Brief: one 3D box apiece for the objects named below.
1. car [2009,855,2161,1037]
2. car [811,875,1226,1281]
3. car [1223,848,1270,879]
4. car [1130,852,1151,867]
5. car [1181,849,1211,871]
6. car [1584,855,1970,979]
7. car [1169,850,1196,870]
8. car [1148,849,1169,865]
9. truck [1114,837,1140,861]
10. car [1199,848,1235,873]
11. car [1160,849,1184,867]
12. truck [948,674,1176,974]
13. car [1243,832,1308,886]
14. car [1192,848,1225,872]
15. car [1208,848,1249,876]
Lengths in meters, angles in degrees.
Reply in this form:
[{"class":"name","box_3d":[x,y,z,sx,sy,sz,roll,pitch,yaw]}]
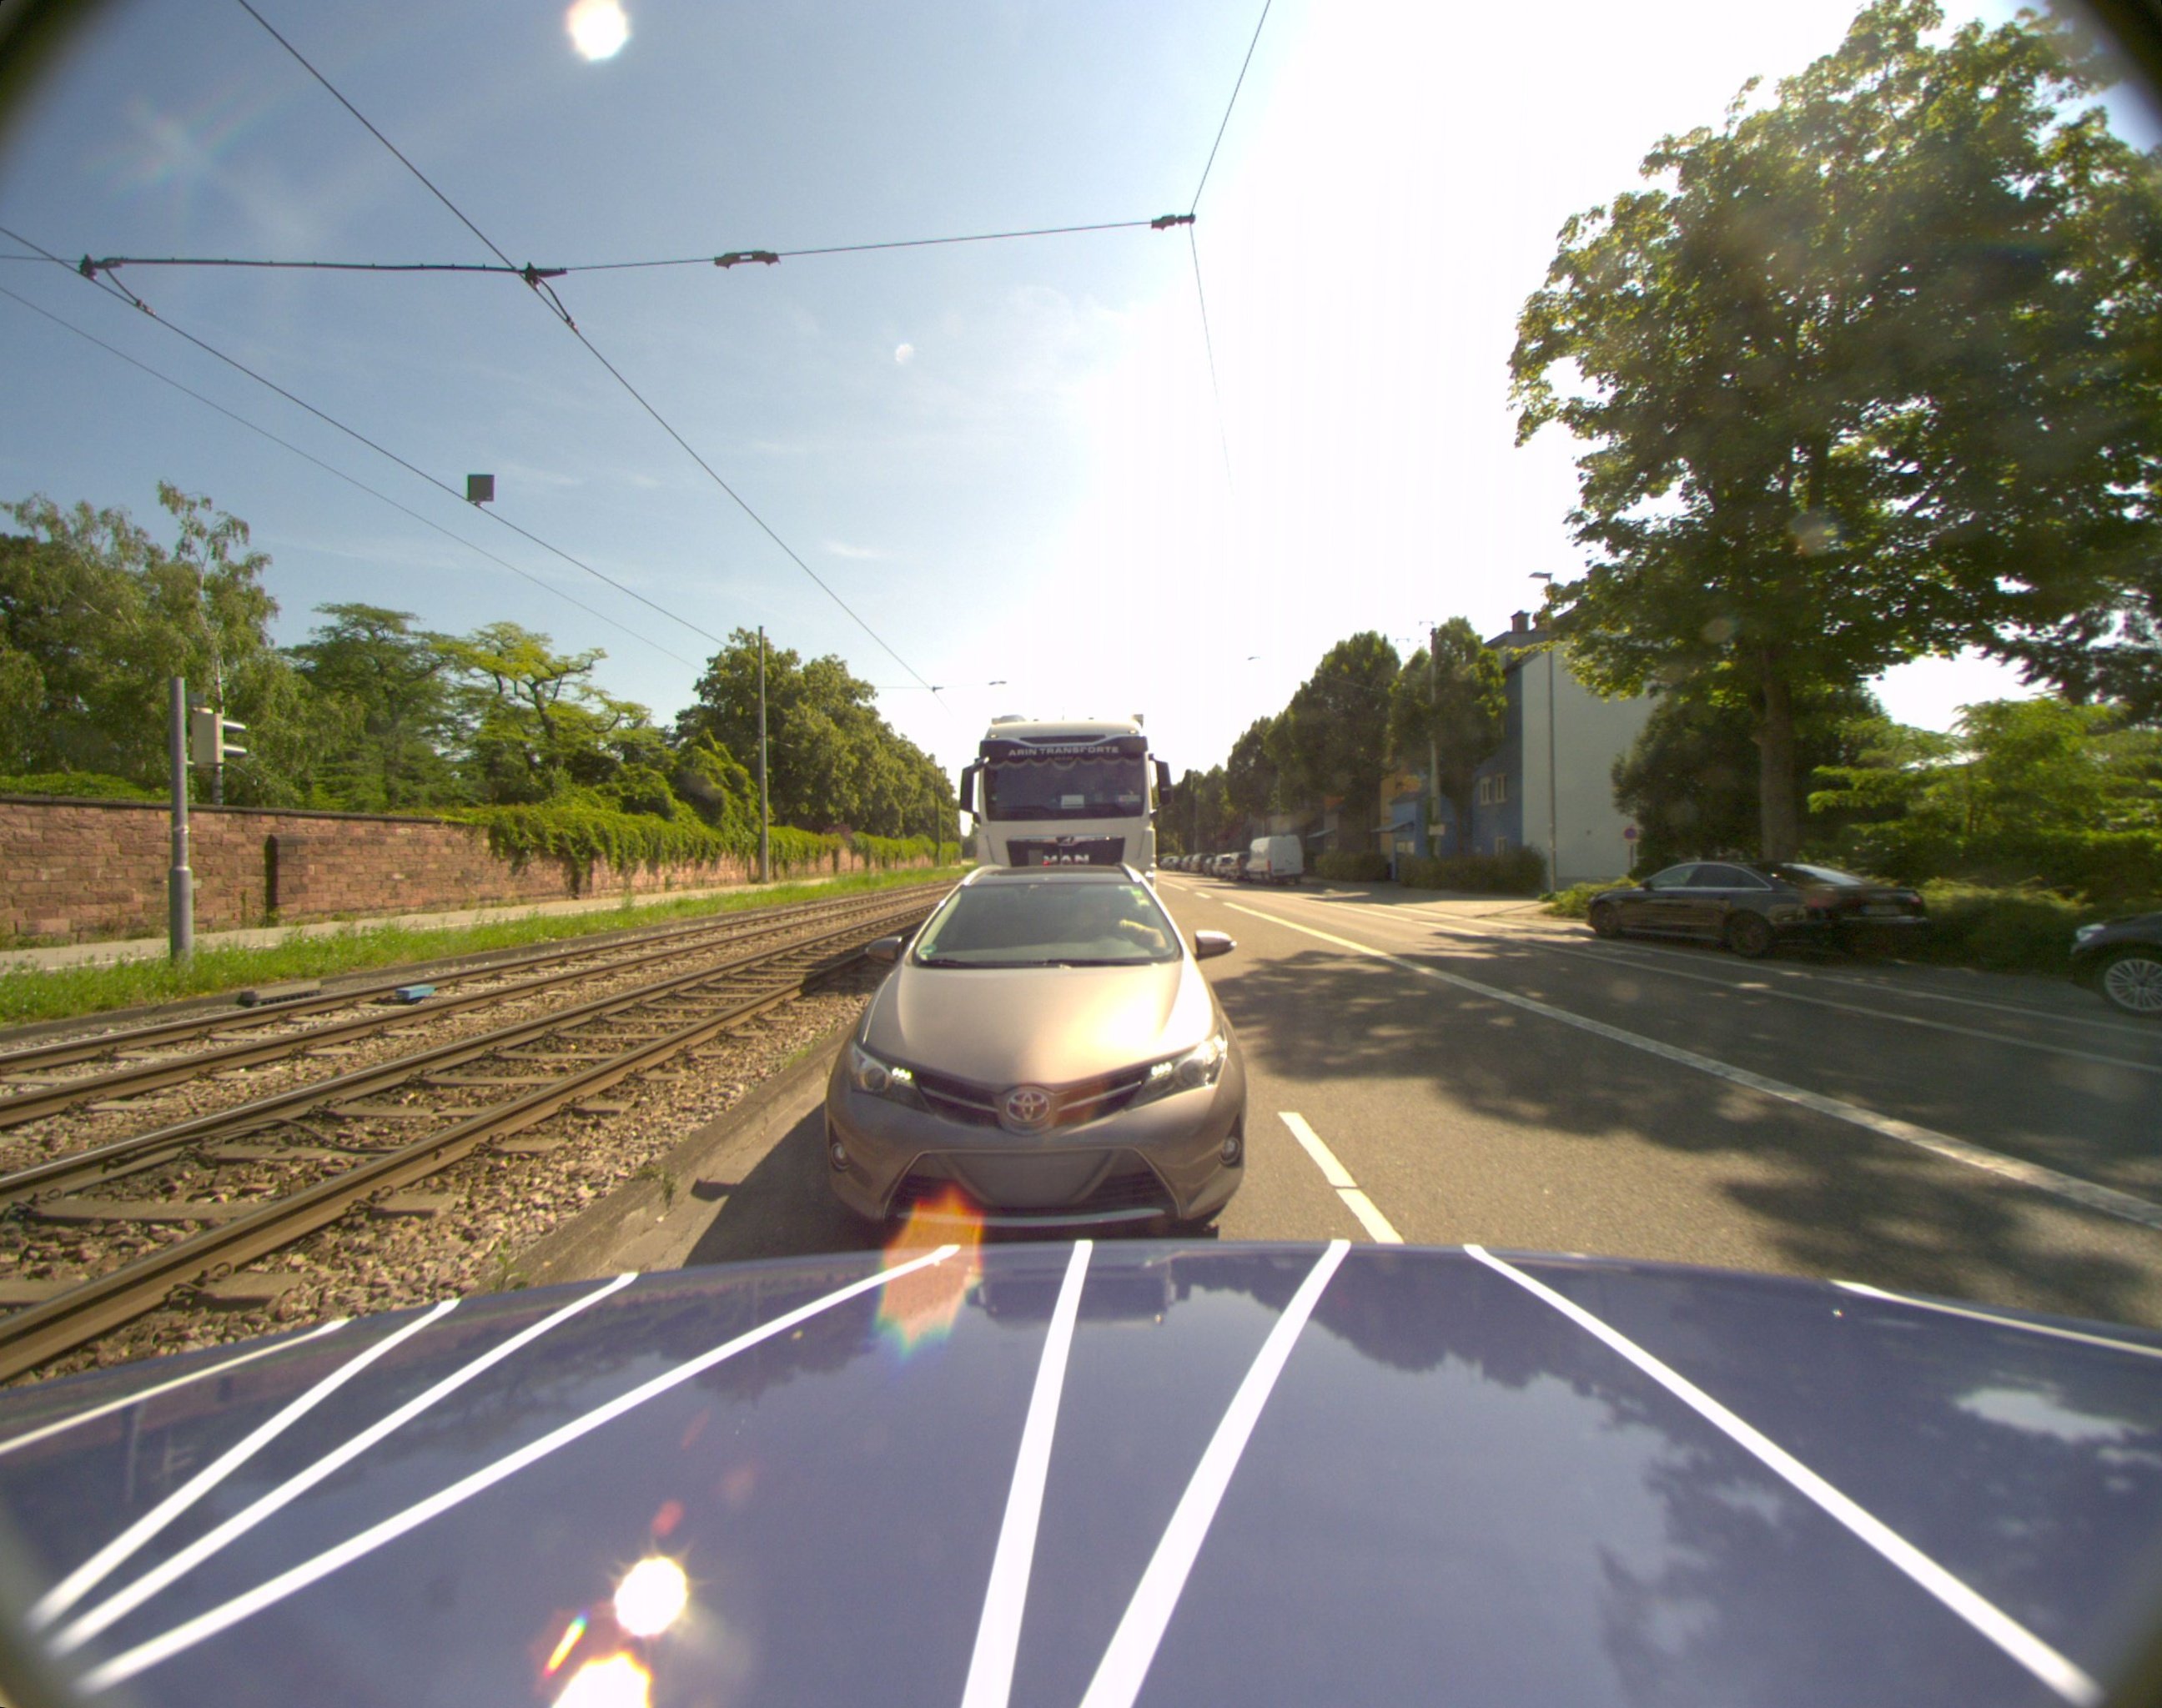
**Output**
[{"class":"car","box_3d":[10.561,0.824,5.569,1.868,1.562,4.621,-2,0,0]},{"class":"car","box_3d":[-0.212,0.910,4.891,1.573,1.422,4.000,0,0,1]},{"class":"car","box_3d":[11.141,0.636,51.446,1.998,1.795,4.769,-6,0,0]},{"class":"car","box_3d":[8.278,0.801,105.568,1.999,1.795,5.111,-6,0,-4]},{"class":"car","box_3d":[11.023,0.560,73.377,1.998,1.795,4.769,-6,0,0]},{"class":"car","box_3d":[10.565,0.823,12.159,1.868,1.562,4.621,-1,0,-2]},{"class":"car","box_3d":[10.573,0.636,79.166,1.998,1.795,4.769,-6,0,0]},{"class":"car","box_3d":[9.854,0.397,96.849,1.998,1.795,4.769,-6,0,0]},{"class":"truck","box_3d":[6.984,-0.670,116.106,2.704,3.263,6.724,-6,0,-5]},{"class":"car","box_3d":[11.223,0.532,62.862,1.998,1.795,4.256,-6,0,0]},{"class":"car","box_3d":[10.252,0.478,85.910,1.998,1.795,4.769,-6,0,0]},{"class":"truck","box_3d":[-0.146,-0.405,17.234,2.935,3.856,14.912,0,0,1]},{"class":"car","box_3d":[10.913,0.251,43.150,1.998,2.678,6.214,-6,0,2]},{"class":"car","box_3d":[11.292,0.504,67.673,1.998,1.795,4.769,-6,0,0]},{"class":"car","box_3d":[11.083,0.579,57.378,1.998,1.795,4.769,-6,0,0]}]
